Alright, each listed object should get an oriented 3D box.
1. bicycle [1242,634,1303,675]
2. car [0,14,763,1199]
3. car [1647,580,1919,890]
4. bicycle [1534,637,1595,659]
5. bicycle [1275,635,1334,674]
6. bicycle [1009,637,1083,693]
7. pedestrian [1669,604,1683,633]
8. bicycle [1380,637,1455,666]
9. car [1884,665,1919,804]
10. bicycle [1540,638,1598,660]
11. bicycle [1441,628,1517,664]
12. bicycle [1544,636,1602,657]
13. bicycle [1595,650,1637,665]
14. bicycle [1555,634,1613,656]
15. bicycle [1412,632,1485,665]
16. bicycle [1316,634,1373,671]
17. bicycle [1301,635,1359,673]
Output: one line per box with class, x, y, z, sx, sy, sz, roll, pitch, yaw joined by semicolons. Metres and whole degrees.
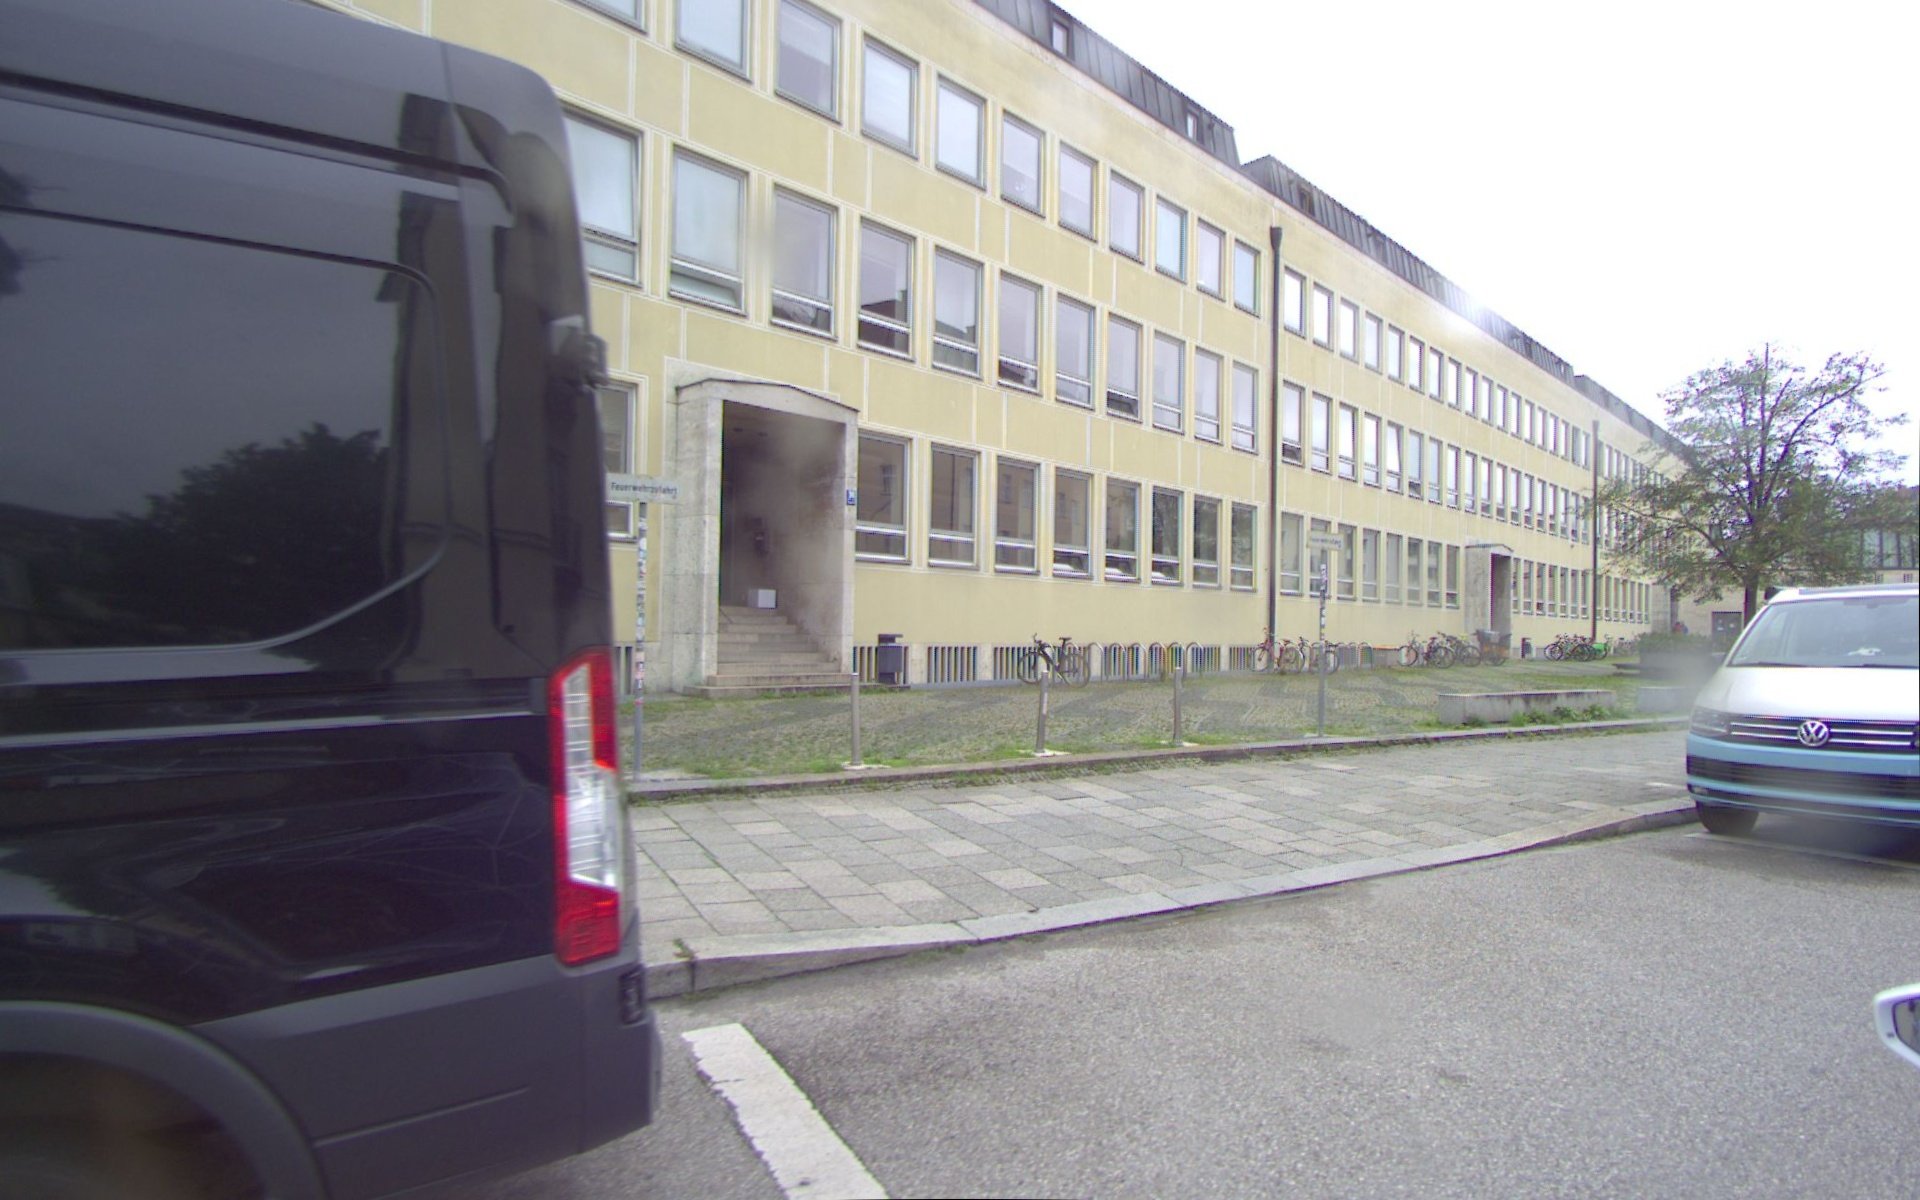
bicycle;8.206;1.421;26.427;1.511;0.968;0.364;1;1;45
car;-3.226;0.440;1.737;5.310;2.671;2.079;0;0;-29
car;7.656;0.902;8.098;4.551;1.957;1.872;1;-2;-33
bicycle;25.911;2.057;43.070;2.180;0.846;0.492;0;-1;42
bicycle;9.379;1.469;27.361;1.511;0.968;0.364;1;1;45
bicycle;1.633;1.236;19.285;1.511;0.968;0.364;1;1;45
pedestrian;44.859;1.156;62.949;0.590;1.759;0.663;3;2;29
bicycle;14.937;1.671;32.807;2.180;0.846;0.492;0;-1;42
car;11.657;1.390;10.761;3.611;1.391;1.644;1;-2;-31
bicycle;26.440;2.124;43.636;2.095;0.846;0.644;0;-1;42
bicycle;18.623;1.630;36.087;2.223;1.184;1.040;1;0;45
bicycle;27.274;2.067;44.708;2.095;0.846;0.644;0;-1;42
bicycle;33.578;2.946;51.442;1.718;0.724;0.611;0;-1;42
bicycle;28.239;2.023;45.484;2.180;0.907;0.644;0;-1;42
bicycle;16.657;1.633;34.295;2.180;1.051;0.492;0;-1;42
bicycle;11.102;1.509;29.023;1.511;0.968;0.364;1;1;45
bicycle;10.493;1.523;28.517;1.511;0.968;0.364;1;1;45
